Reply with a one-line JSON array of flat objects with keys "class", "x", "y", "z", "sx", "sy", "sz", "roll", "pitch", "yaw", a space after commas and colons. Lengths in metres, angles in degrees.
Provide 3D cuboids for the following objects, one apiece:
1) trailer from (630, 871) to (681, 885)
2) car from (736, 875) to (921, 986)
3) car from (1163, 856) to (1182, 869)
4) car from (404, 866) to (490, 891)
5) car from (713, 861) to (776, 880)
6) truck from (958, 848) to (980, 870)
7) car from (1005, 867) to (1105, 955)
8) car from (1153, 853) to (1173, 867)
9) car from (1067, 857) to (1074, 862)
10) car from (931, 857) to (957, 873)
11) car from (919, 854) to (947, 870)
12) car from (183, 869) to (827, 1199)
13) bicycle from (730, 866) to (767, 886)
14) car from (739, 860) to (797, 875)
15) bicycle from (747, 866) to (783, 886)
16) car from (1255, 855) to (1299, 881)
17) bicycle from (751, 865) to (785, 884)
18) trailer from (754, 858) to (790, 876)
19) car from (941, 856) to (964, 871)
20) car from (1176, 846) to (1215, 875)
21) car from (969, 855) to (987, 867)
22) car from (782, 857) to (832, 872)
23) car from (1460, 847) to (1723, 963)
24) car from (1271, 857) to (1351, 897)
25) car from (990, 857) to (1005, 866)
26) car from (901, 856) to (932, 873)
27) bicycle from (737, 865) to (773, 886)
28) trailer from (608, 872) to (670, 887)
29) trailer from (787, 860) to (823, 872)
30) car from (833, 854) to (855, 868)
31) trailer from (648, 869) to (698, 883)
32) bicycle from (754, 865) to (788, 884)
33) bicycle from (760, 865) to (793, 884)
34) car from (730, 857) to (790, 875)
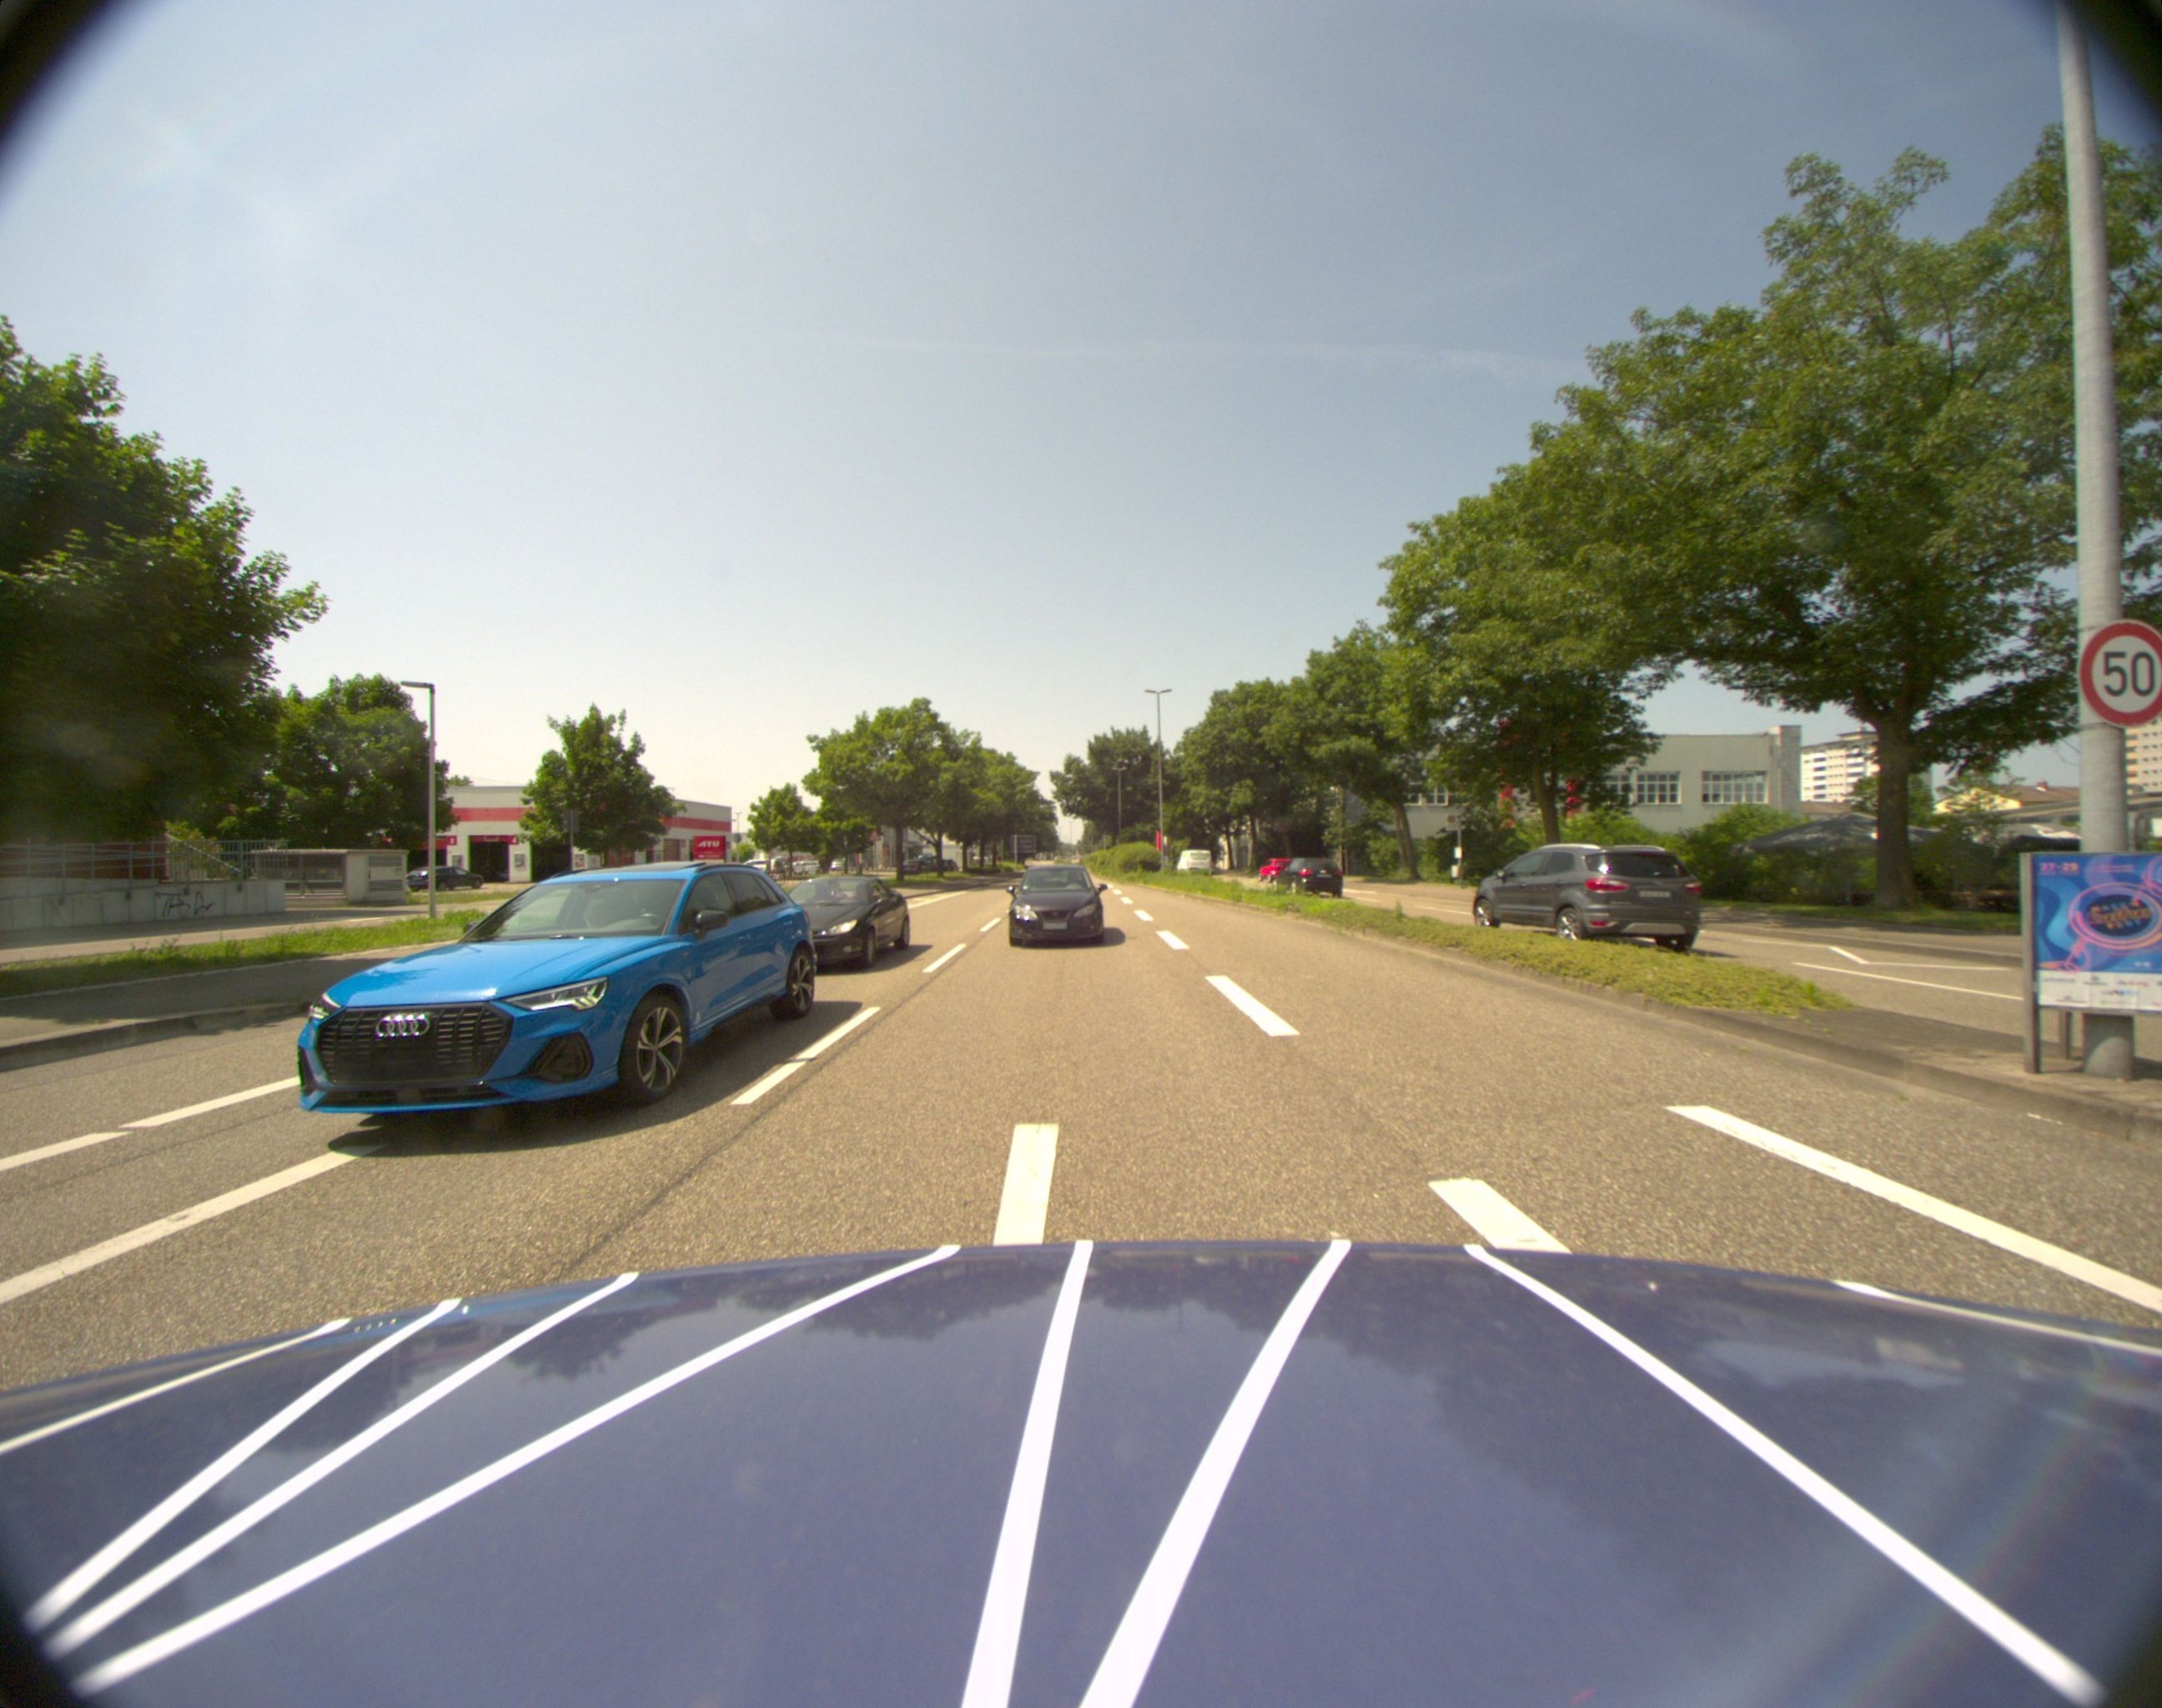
[{"class": "trailer", "x": -24.103, "y": 1.342, "z": 43.054, "sx": 2.137, "sy": 0.757, "sz": 1.267, "roll": -1, "pitch": 0, "yaw": 1}, {"class": "car", "x": -3.856, "y": 1.102, "z": 12.353, "sx": 1.642, "sy": 1.336, "sz": 4.000, "roll": -3, "pitch": 0, "yaw": 0}, {"class": "car", "x": 11.194, "y": 1.004, "z": 92.832, "sx": 1.753, "sy": 1.443, "sz": 4.133, "roll": 2, "pitch": 0, "yaw": 0}, {"class": "car", "x": -38.159, "y": 1.454, "z": 45.851, "sx": 1.717, "sy": 1.364, "sz": 4.145, "roll": 0, "pitch": 0, "yaw": 0}, {"class": "car", "x": -25.499, "y": 1.263, "z": 57.686, "sx": 3.998, "sy": 1.394, "sz": 1.747, "roll": 0, "pitch": 0, "yaw": -2}, {"class": "truck", "x": -13.532, "y": 0.571, "z": 92.035, "sx": 1.904, "sy": 2.552, "sz": 4.000, "roll": 0, "pitch": 0, "yaw": 2}, {"class": "car", "x": -0.452, "y": 0.985, "z": 14.670, "sx": 1.642, "sy": 1.395, "sz": 4.000, "roll": 0, "pitch": 0, "yaw": -1}, {"class": "car", "x": 8.561, "y": 0.603, "z": 79.609, "sx": 1.584, "sy": 1.433, "sz": 3.608, "roll": 2, "pitch": 0, "yaw": -1}, {"class": "car", "x": -3.254, "y": 1.715, "z": 235.808, "sx": 1.999, "sy": 1.692, "sz": 4.000, "roll": 0, "pitch": 0, "yaw": 0}, {"class": "car", "x": -13.325, "y": 1.046, "z": 74.132, "sx": 1.719, "sy": 1.511, "sz": 4.000, "roll": 0, "pitch": 0, "yaw": 1}, {"class": "car", "x": -13.420, "y": 0.697, "z": 68.958, "sx": 1.719, "sy": 1.458, "sz": 4.000, "roll": 0, "pitch": 0, "yaw": 1}, {"class": "car", "x": -3.723, "y": 0.980, "z": 6.153, "sx": 1.842, "sy": 1.586, "sz": 4.400, "roll": -1, "pitch": 0, "yaw": 0}, {"class": "bicycle", "x": -18.548, "y": 1.232, "z": 42.381, "sx": 1.784, "sy": 1.117, "sz": 0.514, "roll": 0, "pitch": 0, "yaw": -6}, {"class": "car", "x": -25.594, "y": 1.074, "z": 62.283, "sx": 3.998, "sy": 1.201, "sz": 1.747, "roll": 0, "pitch": 0, "yaw": -3}, {"class": "bicycle", "x": -18.192, "y": 1.236, "z": 43.753, "sx": 1.784, "sy": 1.117, "sz": 0.514, "roll": 0, "pitch": 0, "yaw": -6}, {"class": "car", "x": 12.133, "y": 0.840, "z": 47.305, "sx": 1.710, "sy": 1.444, "sz": 3.891, "roll": 2, "pitch": 0, "yaw": 0}, {"class": "bicycle", "x": -18.286, "y": 1.200, "z": 44.393, "sx": 1.784, "sy": 1.117, "sz": 0.514, "roll": 0, "pitch": 0, "yaw": -6}, {"class": "trailer", "x": -27.280, "y": 1.165, "z": 67.107, "sx": 2.642, "sy": 1.518, "sz": 1.415, "roll": 0, "pitch": 0, "yaw": -2}, {"class": "car", "x": -13.551, "y": 1.018, "z": 80.306, "sx": 1.719, "sy": 1.504, "sz": 4.000, "roll": 0, "pitch": 0, "yaw": 1}, {"class": "car", "x": 8.403, "y": 0.457, "z": 56.205, "sx": 1.999, "sy": 1.934, "sz": 4.907, "roll": 2, "pitch": 0, "yaw": -1}, {"class": "car", "x": -13.297, "y": 0.918, "z": 97.870, "sx": 1.719, "sy": 1.458, "sz": 4.000, "roll": 0, "pitch": 0, "yaw": 1}, {"class": "car", "x": -25.077, "y": 0.946, "z": 69.632, "sx": 3.998, "sy": 1.293, "sz": 1.689, "roll": 0, "pitch": 0, "yaw": -3}, {"class": "car", "x": 8.226, "y": 0.720, "z": 12.750, "sx": 1.691, "sy": 1.591, "sz": 3.884, "roll": 2, "pitch": 0, "yaw": -1}, {"class": "car", "x": 8.527, "y": 0.810, "z": 28.506, "sx": 1.683, "sy": 1.331, "sz": 3.999, "roll": 2, "pitch": 0, "yaw": -1}, {"class": "car", "x": -13.002, "y": 1.129, "z": 118.466, "sx": 1.719, "sy": 1.458, "sz": 4.000, "roll": 0, "pitch": 0, "yaw": 1}, {"class": "car", "x": -13.507, "y": 0.850, "z": 62.731, "sx": 1.642, "sy": 1.363, "sz": 4.000, "roll": 0, "pitch": 0, "yaw": 1}, {"class": "bicycle", "x": -18.463, "y": 1.214, "z": 43.007, "sx": 1.784, "sy": 1.117, "sz": 0.514, "roll": 0, "pitch": 0, "yaw": -6}, {"class": "trailer", "x": -23.939, "y": 1.361, "z": 41.213, "sx": 2.467, "sy": 0.757, "sz": 1.449, "roll": -1, "pitch": 0, "yaw": 1}, {"class": "trailer", "x": -24.458, "y": 1.074, "z": 67.312, "sx": 2.642, "sy": 1.046, "sz": 1.578, "roll": 0, "pitch": 0, "yaw": -2}, {"class": "car", "x": -27.412, "y": 0.843, "z": 88.005, "sx": 1.759, "sy": 1.586, "sz": 3.997, "roll": 0, "pitch": 0, "yaw": -7}, {"class": "trailer", "x": -24.042, "y": 1.296, "z": 44.803, "sx": 2.137, "sy": 0.757, "sz": 1.394, "roll": -1, "pitch": 0, "yaw": 1}, {"class": "bicycle", "x": -18.376, "y": 1.221, "z": 45.112, "sx": 1.784, "sy": 1.117, "sz": 0.514, "roll": 0, "pitch": 0, "yaw": -6}, {"class": "bicycle", "x": -18.411, "y": 1.212, "z": 45.943, "sx": 1.784, "sy": 1.117, "sz": 0.514, "roll": 0, "pitch": 0, "yaw": -6}, {"class": "car", "x": -25.271, "y": 0.957, "z": 59.915, "sx": 3.998, "sy": 1.394, "sz": 1.747, "roll": 0, "pitch": 0, "yaw": -3}]
